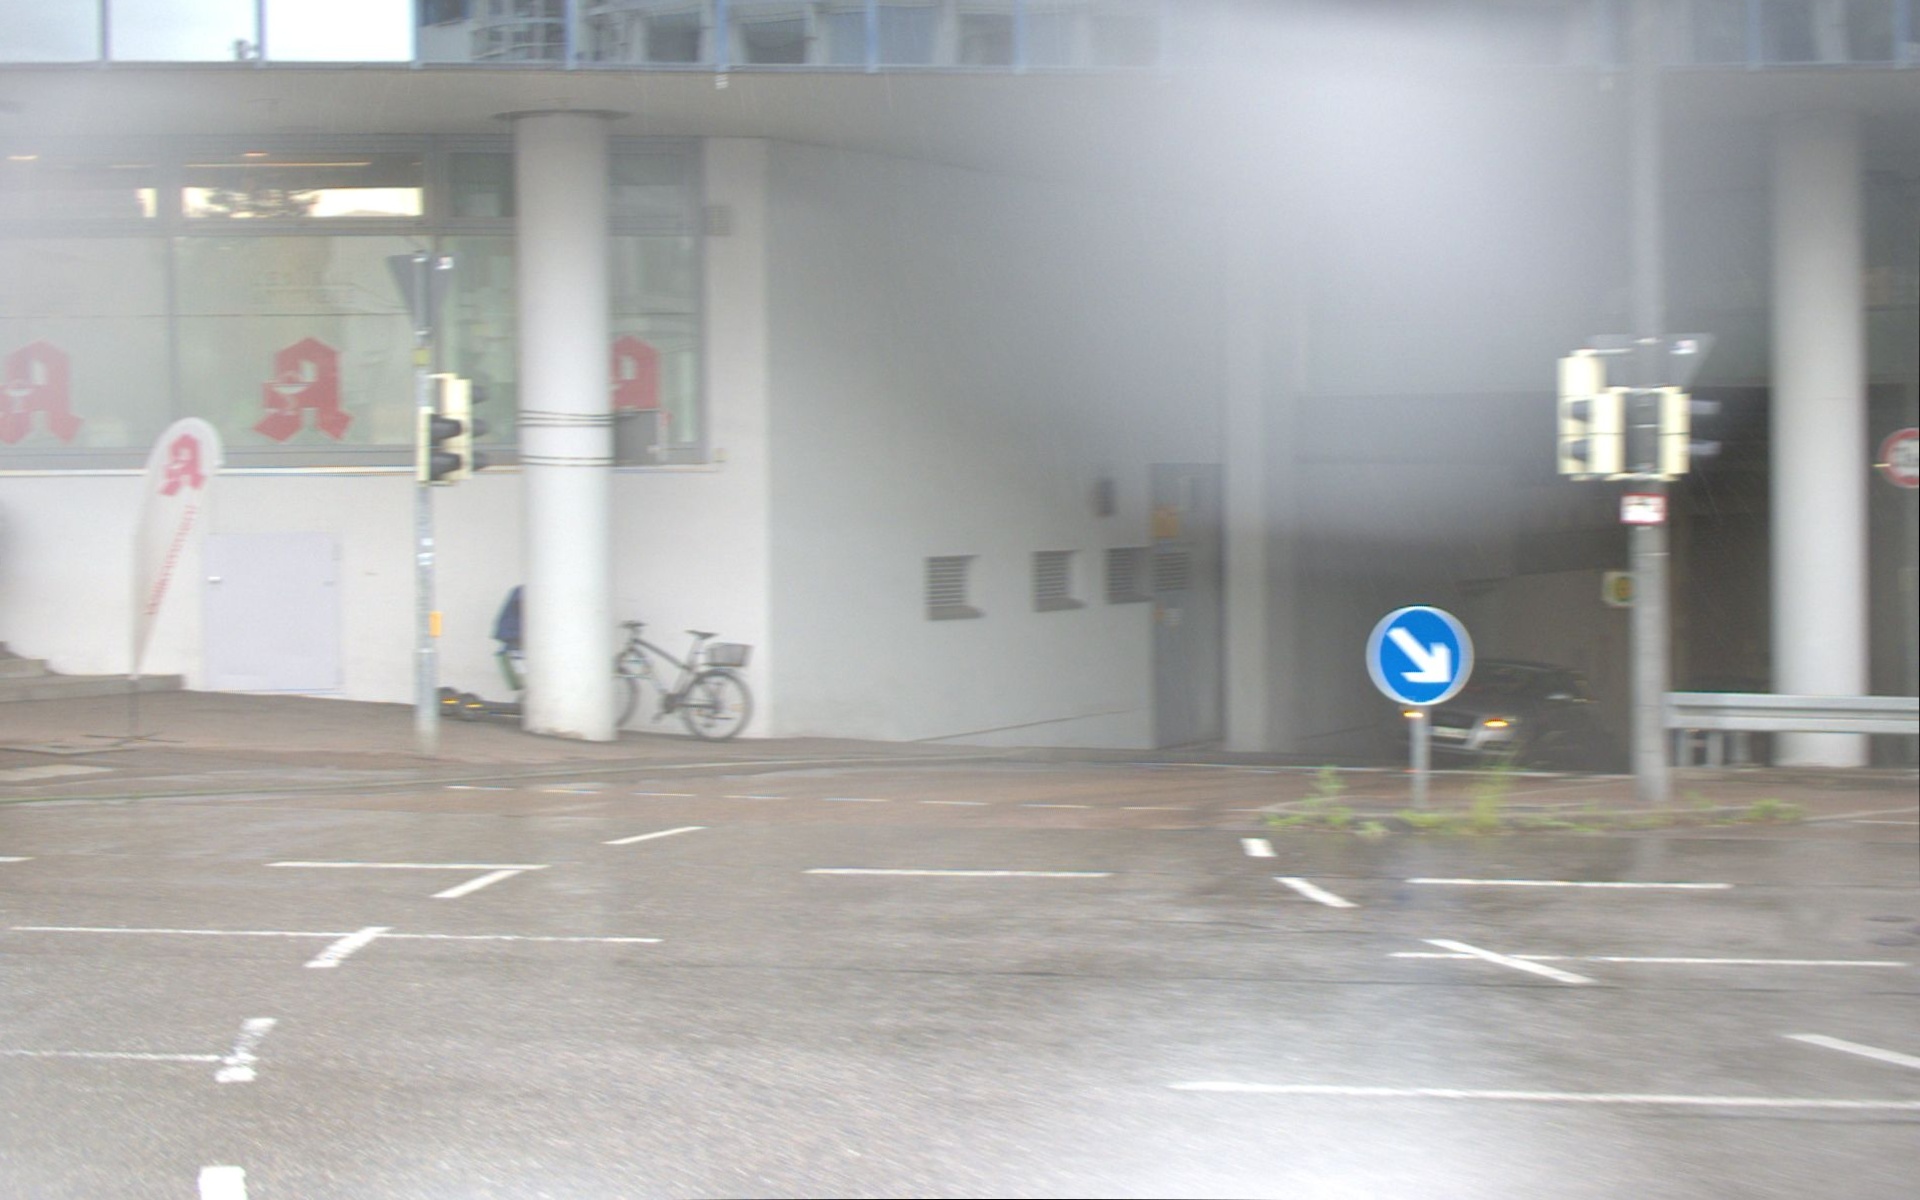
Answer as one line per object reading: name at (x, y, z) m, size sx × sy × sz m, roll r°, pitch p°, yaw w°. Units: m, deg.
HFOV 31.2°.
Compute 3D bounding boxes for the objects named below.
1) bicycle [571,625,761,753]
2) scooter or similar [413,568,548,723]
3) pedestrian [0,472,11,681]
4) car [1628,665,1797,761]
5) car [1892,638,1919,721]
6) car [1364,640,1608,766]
bicycle at (-2.701, 0.818, 31.576) m, size 1.581 × 1.014 × 0.452 m, roll 6°, pitch 0°, yaw -20°
scooter or similar at (-4.378, 0.408, 31.420) m, size 1.166 × 1.368 × 0.489 m, roll 1°, pitch 2°, yaw -4°
pedestrian at (-9.056, -0.220, 31.256) m, size 0.656 × 1.901 × 0.595 m, roll 1°, pitch 1°, yaw 3°
car at (12.074, 1.783, 54.988) m, size 1.773 × 1.459 × 3.870 m, roll 0°, pitch -1°, yaw 26°
car at (20.487, 1.607, 70.539) m, size 1.917 × 1.582 × 3.933 m, roll 0°, pitch 1°, yaw 26°
car at (6.776, 1.345, 43.944) m, size 1.895 × 1.465 × 4.021 m, roll 0°, pitch -3°, yaw 27°
